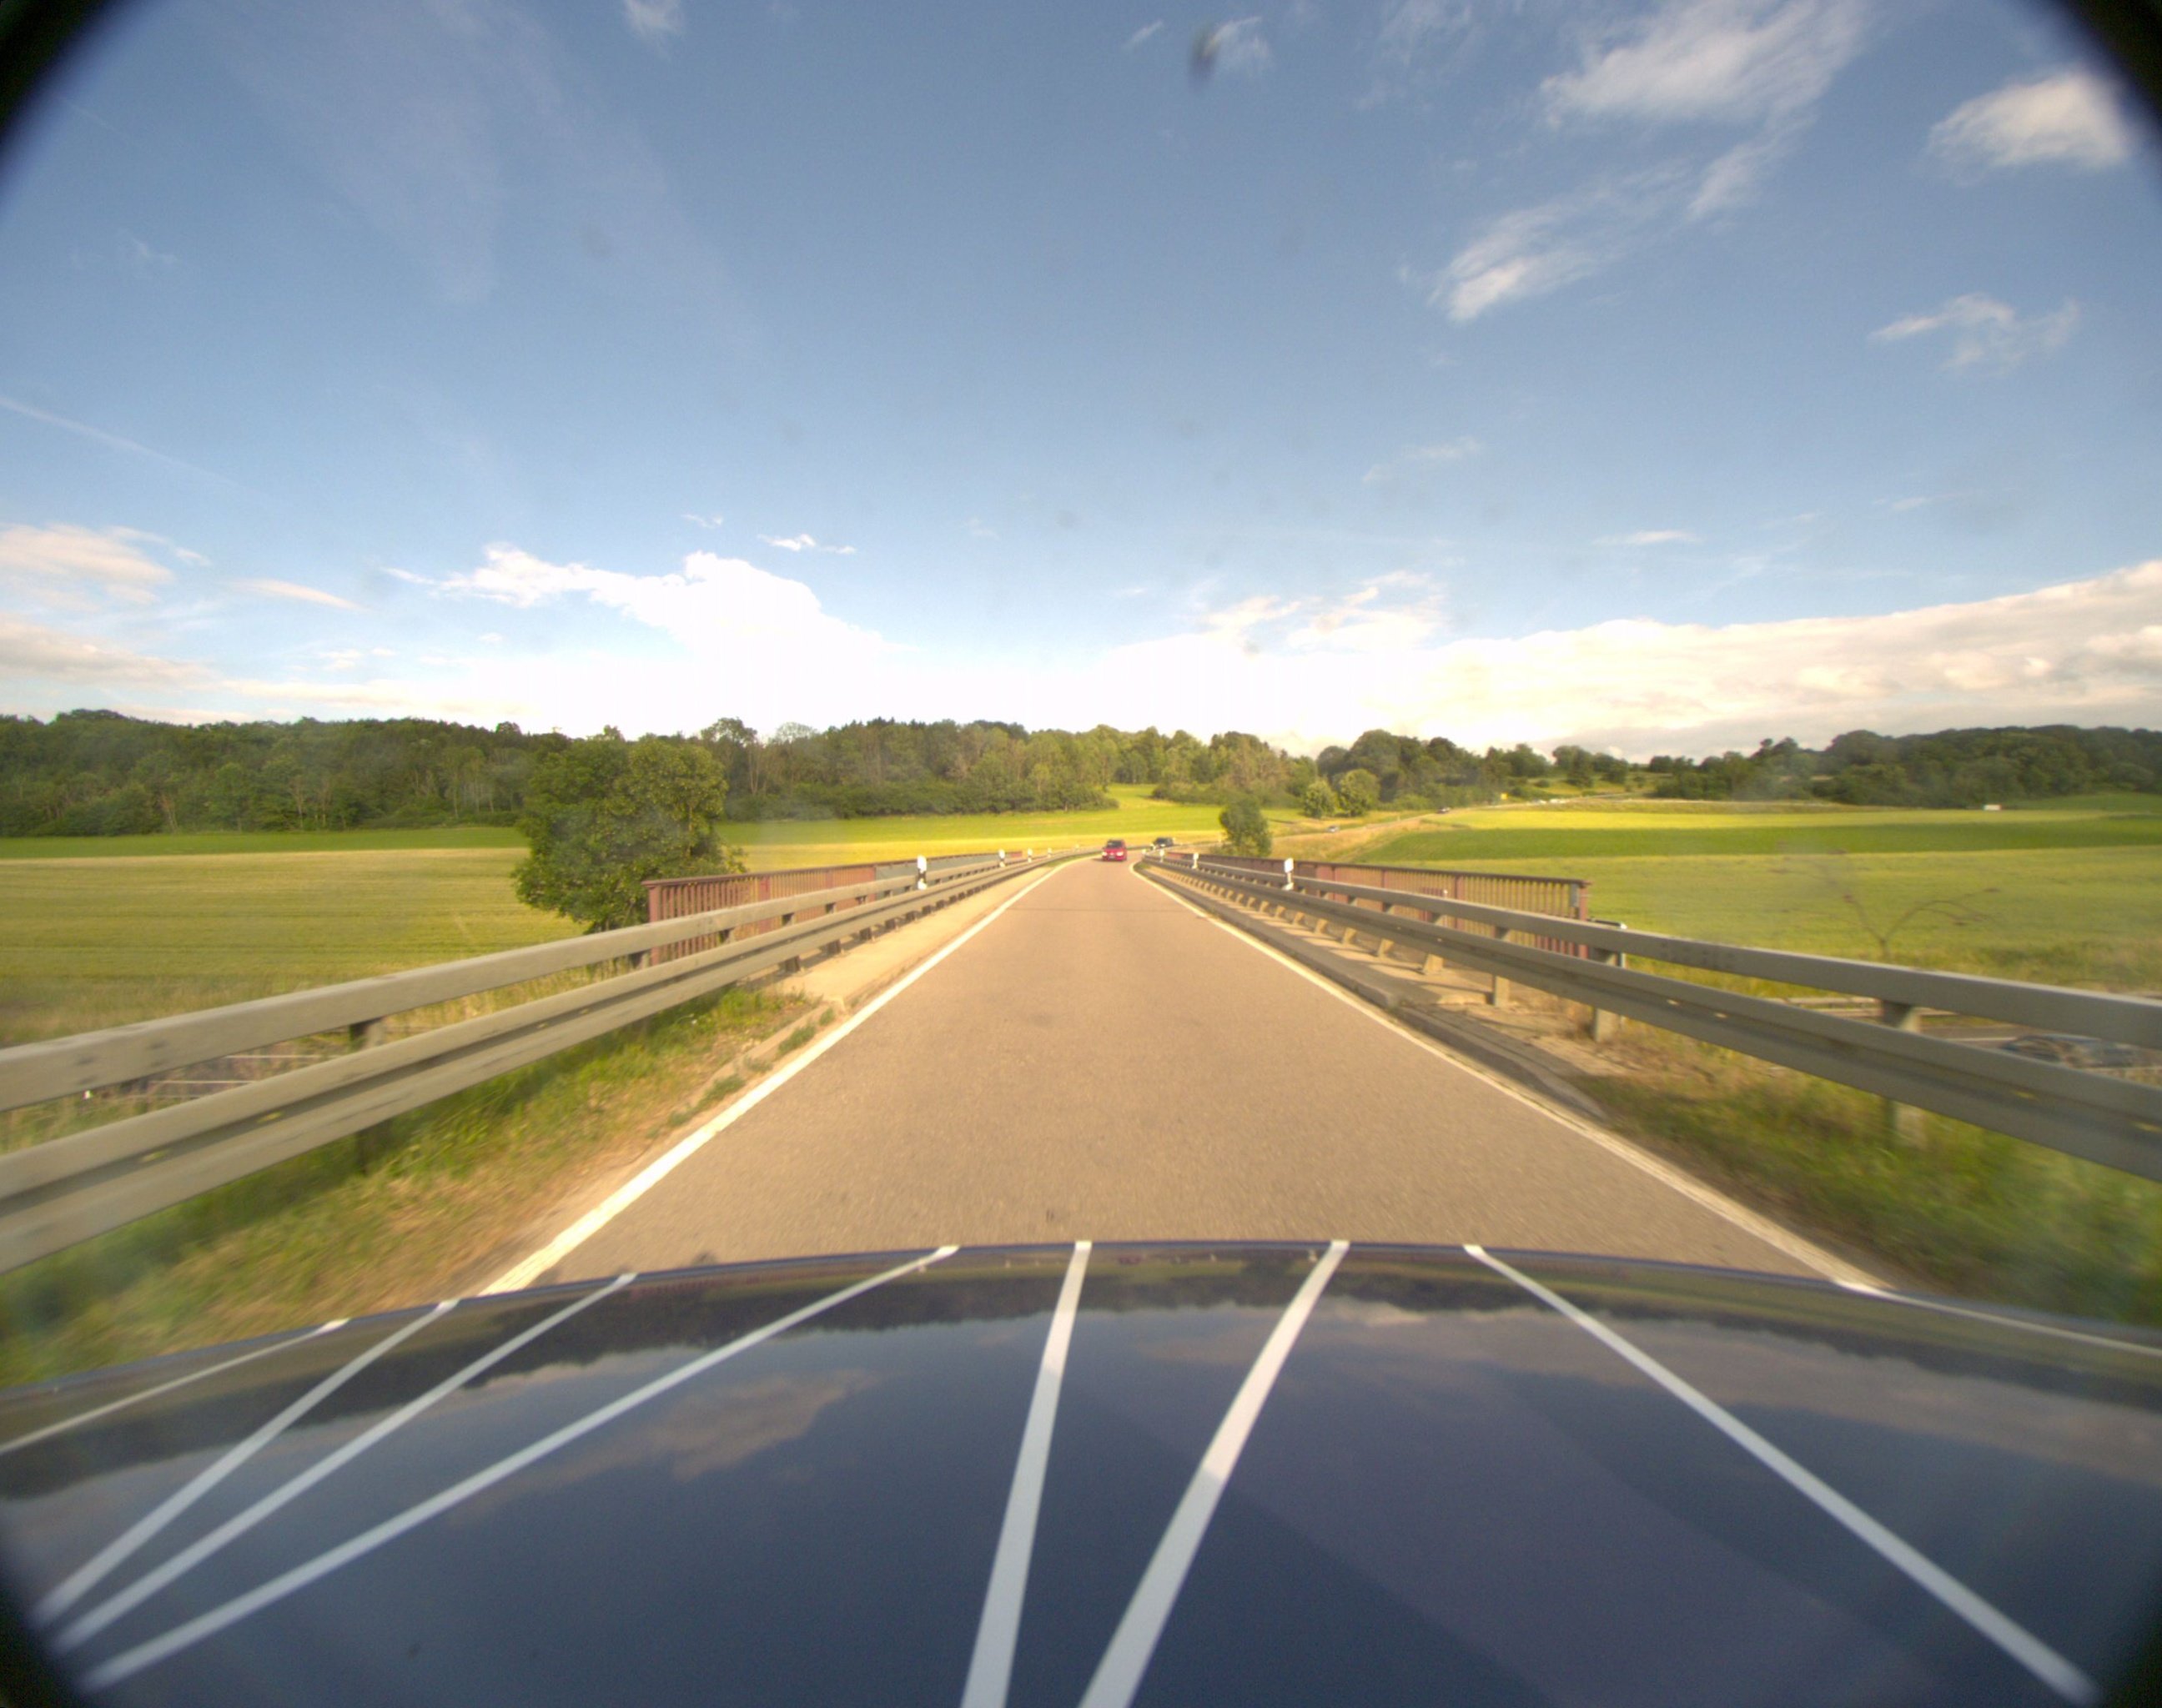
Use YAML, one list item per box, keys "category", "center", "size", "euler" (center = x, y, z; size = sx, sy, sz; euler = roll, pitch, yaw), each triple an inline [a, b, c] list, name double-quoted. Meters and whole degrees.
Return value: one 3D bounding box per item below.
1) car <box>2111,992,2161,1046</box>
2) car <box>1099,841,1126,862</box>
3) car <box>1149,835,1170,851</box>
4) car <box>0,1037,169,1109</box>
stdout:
- category: "car"
  center: [42.641, 6.333, 29.031]
  size: [3.998, 1.704, 1.988]
  euler: [-1, 2, -4]
- category: "car"
  center: [2.610, -0.248, 64.249]
  size: [1.821, 1.645, 3.998]
  euler: [-2, 1, -4]
- category: "car"
  center: [9.094, -1.301, 87.794]
  size: [1.819, 1.603, 4.002]
  euler: [1, 4, 14]
- category: "car"
  center: [-32.111, 6.885, 24.017]
  size: [4.370, 1.693, 1.777]
  euler: [0, 3, 1]
